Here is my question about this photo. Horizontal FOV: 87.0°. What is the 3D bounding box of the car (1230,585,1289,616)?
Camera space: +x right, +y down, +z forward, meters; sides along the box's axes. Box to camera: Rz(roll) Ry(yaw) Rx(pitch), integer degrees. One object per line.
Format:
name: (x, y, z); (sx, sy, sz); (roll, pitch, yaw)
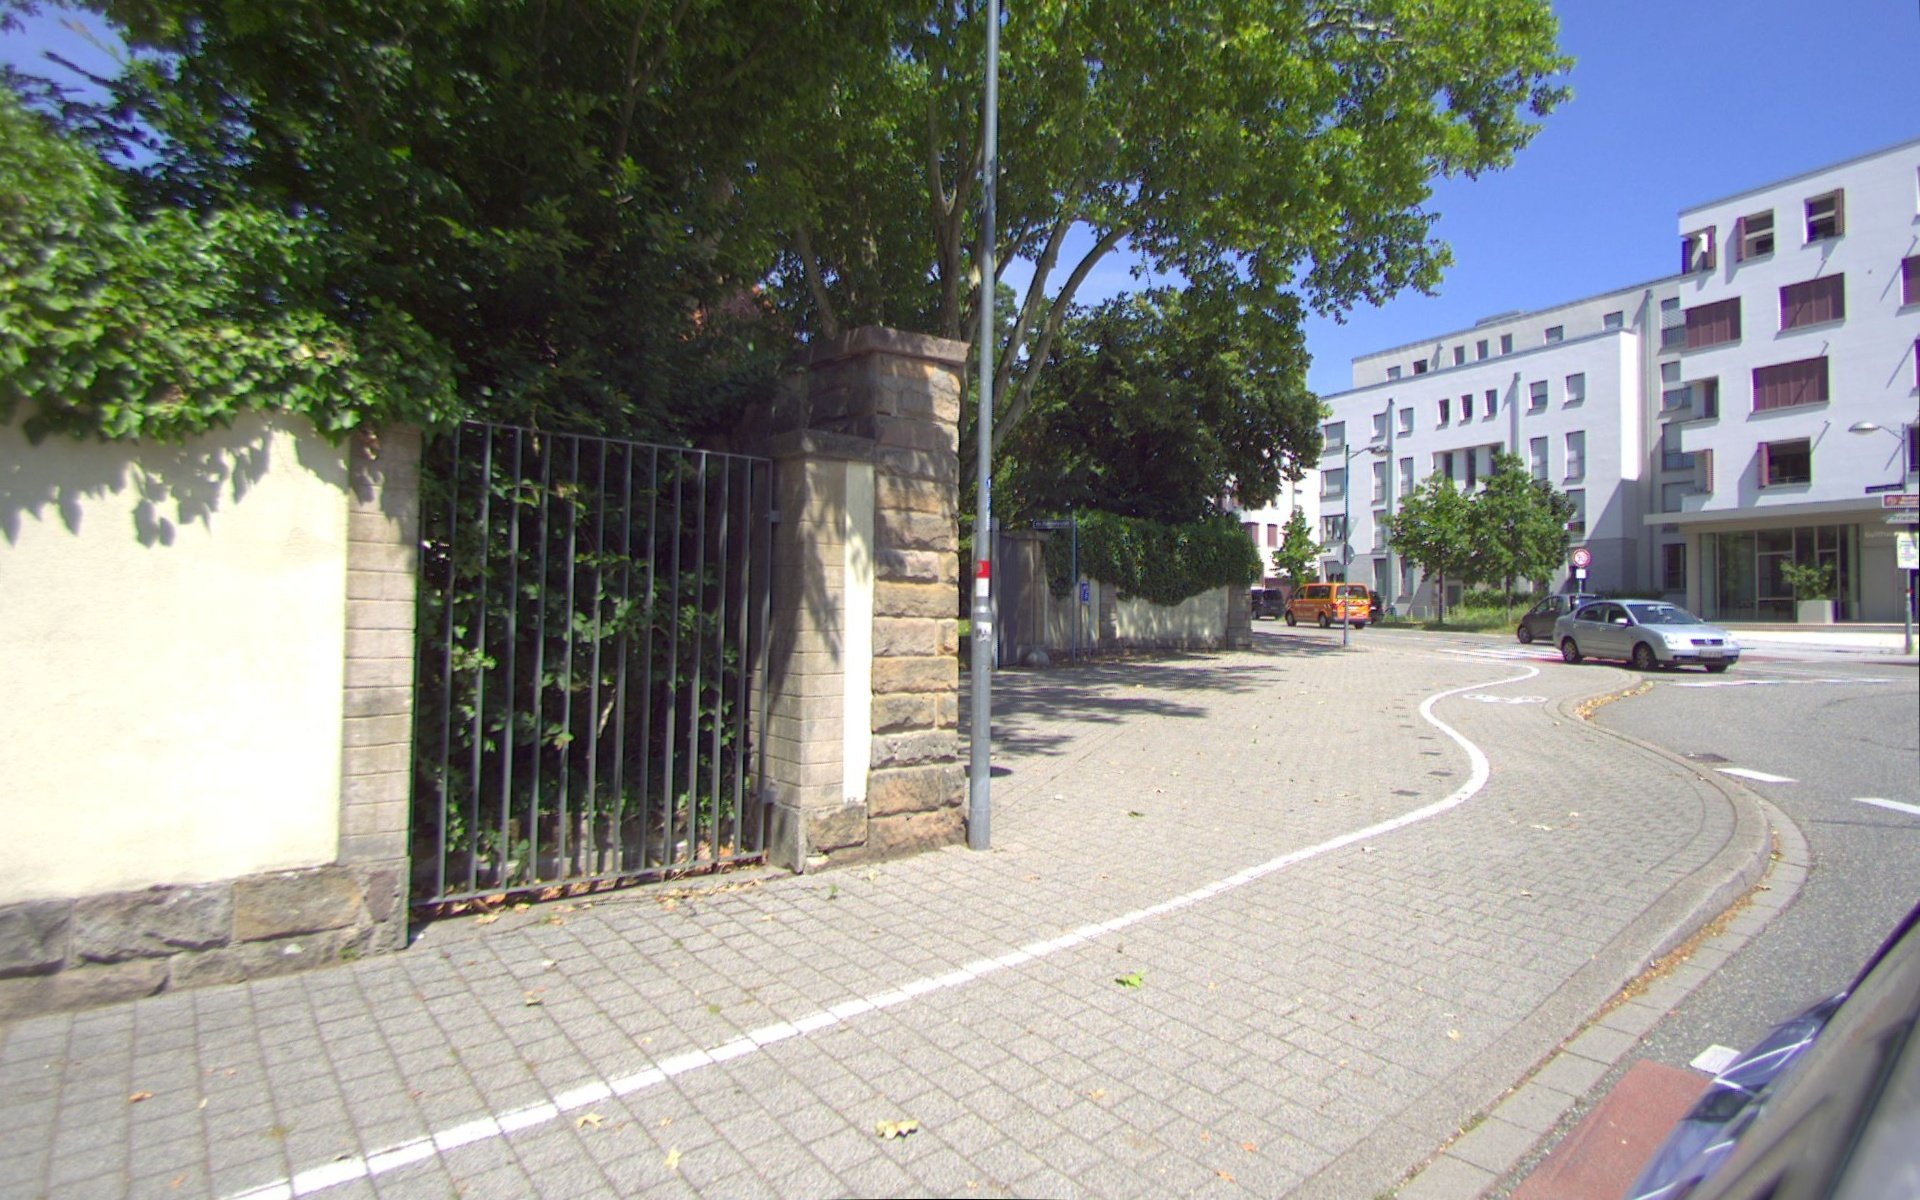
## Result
car: (17.079, 0.015, 57.947); (1.664, 1.721, 3.635); (0, 1, -13)

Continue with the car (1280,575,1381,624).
car: (16.158, -0.033, 44.478); (1.910, 1.984, 5.029); (-1, 1, -9)

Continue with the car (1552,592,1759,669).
car: (14.674, 0.577, 21.638); (1.577, 1.470, 4.001); (0, 1, -2)

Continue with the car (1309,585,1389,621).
car: (18.801, 0.110, 49.119); (1.664, 1.658, 4.029); (0, 1, -13)

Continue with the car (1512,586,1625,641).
car: (18.183, 0.378, 30.346); (1.538, 1.549, 2.791); (0, 0, -5)
